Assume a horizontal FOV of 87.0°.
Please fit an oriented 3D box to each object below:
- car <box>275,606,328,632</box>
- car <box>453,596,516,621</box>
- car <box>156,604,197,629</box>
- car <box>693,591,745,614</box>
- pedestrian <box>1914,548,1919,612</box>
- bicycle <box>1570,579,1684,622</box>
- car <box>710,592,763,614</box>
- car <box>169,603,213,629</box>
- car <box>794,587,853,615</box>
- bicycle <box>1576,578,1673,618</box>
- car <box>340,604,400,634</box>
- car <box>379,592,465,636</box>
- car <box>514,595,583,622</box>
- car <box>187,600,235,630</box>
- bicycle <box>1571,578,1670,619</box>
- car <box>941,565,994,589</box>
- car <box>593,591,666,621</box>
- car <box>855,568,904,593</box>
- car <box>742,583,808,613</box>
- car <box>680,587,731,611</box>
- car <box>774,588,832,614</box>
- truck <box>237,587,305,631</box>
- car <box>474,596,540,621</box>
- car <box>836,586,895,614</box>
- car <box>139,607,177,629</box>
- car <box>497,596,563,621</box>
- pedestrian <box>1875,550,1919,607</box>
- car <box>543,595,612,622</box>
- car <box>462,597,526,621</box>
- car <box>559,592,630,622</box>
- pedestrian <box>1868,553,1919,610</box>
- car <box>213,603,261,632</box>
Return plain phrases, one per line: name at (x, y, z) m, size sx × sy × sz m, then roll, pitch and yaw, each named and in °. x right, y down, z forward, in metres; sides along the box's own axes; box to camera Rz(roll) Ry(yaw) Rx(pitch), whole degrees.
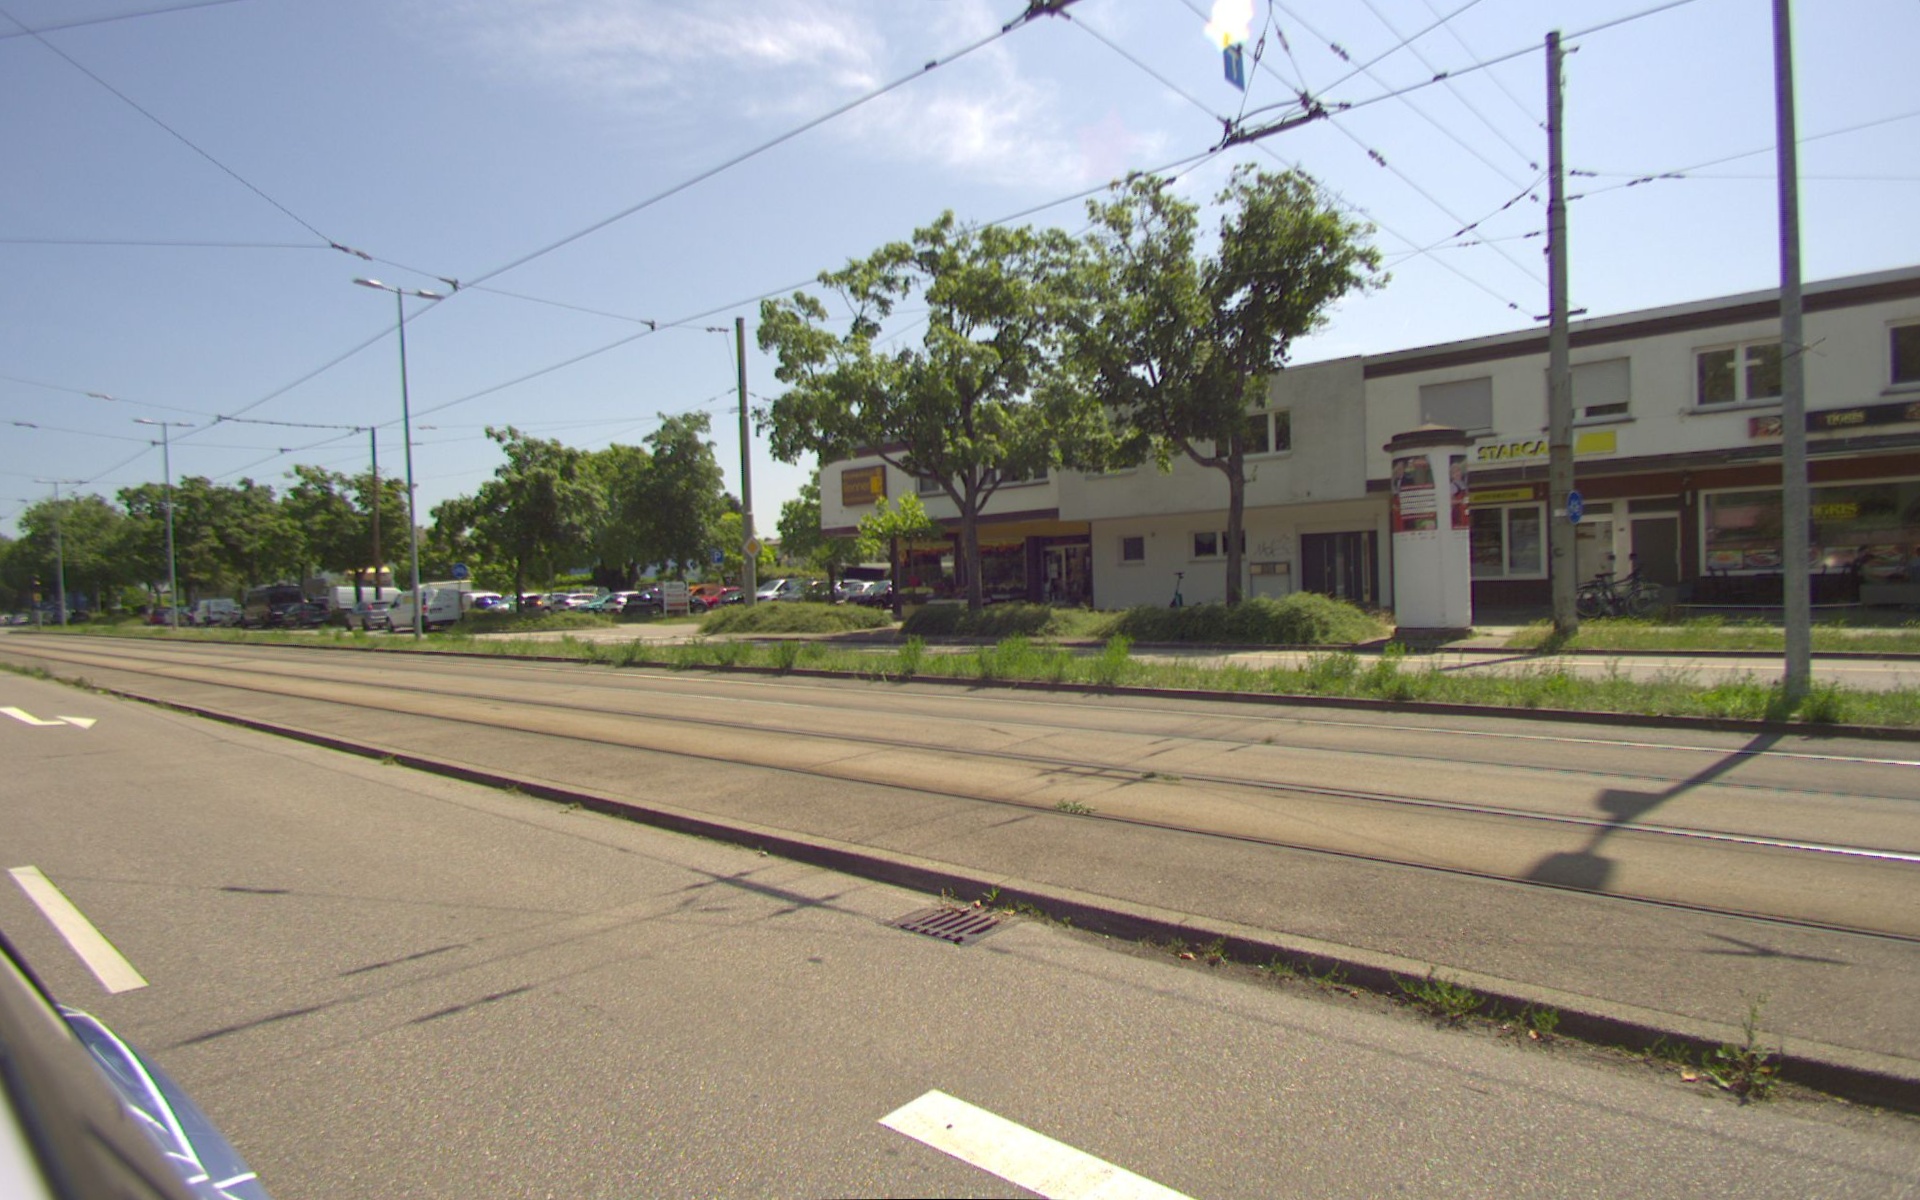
car at (-37.513, 1.091, 57.589) m, size 3.669 × 1.397 × 1.653 m, roll -1°, pitch 1°, yaw 43°
car at (-31.495, 0.562, 67.084) m, size 1.600 × 1.517 × 3.375 m, roll -1°, pitch 1°, yaw 35°
car at (-60.169, 1.301, 77.694) m, size 4.199 × 1.807 × 1.660 m, roll -2°, pitch 0°, yaw 40°
car at (-16.963, 0.159, 71.378) m, size 1.504 × 1.469 × 3.315 m, roll -1°, pitch 1°, yaw 38°
pedestrian at (19.232, -0.407, 19.996) m, size 0.491 × 1.248 × 0.569 m, roll -1°, pitch 1°, yaw 40°
bicycle at (14.133, 0.021, 21.470) m, size 1.958 × 0.854 × 0.596 m, roll -1°, pitch 3°, yaw 41°
car at (-15.344, 0.184, 69.531) m, size 1.504 × 1.400 × 3.315 m, roll -1°, pitch 1°, yaw 38°
car at (-56.782, 1.200, 74.723) m, size 4.199 × 1.807 × 1.660 m, roll -1°, pitch 1°, yaw 40°
car at (-8.321, 0.039, 61.949) m, size 1.622 × 1.549 × 3.450 m, roll -1°, pitch 1°, yaw 38°
bicycle at (15.076, -0.039, 22.990) m, size 1.786 × 0.854 × 0.523 m, roll -1°, pitch 3°, yaw 41°
car at (-29.881, 0.956, 51.219) m, size 3.568 × 1.397 × 1.653 m, roll -1°, pitch 1°, yaw 43°
car at (-25.048, 0.649, 47.056) m, size 4.659 × 1.897 × 1.973 m, roll -1°, pitch 1°, yaw 41°
car at (-23.902, 0.483, 58.914) m, size 1.600 × 1.404 × 3.375 m, roll -1°, pitch 1°, yaw 35°
car at (-52.513, 1.079, 70.919) m, size 4.506 × 1.989 × 1.660 m, roll -1°, pitch 1°, yaw 40°
bicycle at (14.707, -0.030, 22.556) m, size 1.786 × 0.854 × 0.523 m, roll -1°, pitch 3°, yaw 41°
car at (0.584, -1.779, 78.565) m, size 2.000 × 1.785 × 3.944 m, roll -1°, pitch 1°, yaw 42°
car at (-17.886, 0.327, 54.880) m, size 1.790 × 1.502 × 3.375 m, roll -1°, pitch 1°, yaw 35°
car at (-6.975, -1.726, 87.842) m, size 2.000 × 2.029 × 3.944 m, roll -1°, pitch 1°, yaw 42°
car at (-11.948, -0.140, 65.483) m, size 1.811 × 1.798 × 3.950 m, roll -1°, pitch 1°, yaw 38°
car at (-18.476, -0.080, 73.542) m, size 1.504 × 1.573 × 3.315 m, roll -1°, pitch 1°, yaw 38°
car at (-9.921, 0.042, 64.135) m, size 1.532 × 1.549 × 3.450 m, roll -1°, pitch 1°, yaw 38°
truck at (-42.055, 0.556, 61.720) m, size 4.926 × 2.560 × 2.197 m, roll -1°, pitch 1°, yaw 41°
car at (-27.993, 0.535, 62.641) m, size 1.600 × 1.404 × 3.375 m, roll -1°, pitch 1°, yaw 35°
car at (-5.700, -0.023, 61.075) m, size 1.622 × 1.549 × 3.450 m, roll -1°, pitch 1°, yaw 38°
car at (-65.265, 1.486, 82.359) m, size 3.820 × 1.716 × 1.660 m, roll -1°, pitch 1°, yaw 40°
car at (-26.004, 0.509, 61.269) m, size 1.600 × 1.404 × 3.375 m, roll -1°, pitch 1°, yaw 35°
pedestrian at (19.802, -0.459, 21.367) m, size 0.674 × 1.172 × 0.512 m, roll -1°, pitch 1°, yaw 41°
car at (-21.827, 0.456, 57.873) m, size 1.600 × 1.404 × 3.375 m, roll -1°, pitch 1°, yaw 35°
car at (-29.856, 0.559, 64.923) m, size 1.600 × 1.404 × 3.375 m, roll -1°, pitch 1°, yaw 35°
car at (-20.208, 0.384, 56.043) m, size 1.595 × 1.502 × 3.375 m, roll -1°, pitch 1°, yaw 35°
pedestrian at (19.275, -0.386, 20.847) m, size 0.810 × 1.136 × 0.558 m, roll -1°, pitch 1°, yaw 41°
car at (-48.234, 1.165, 67.518) m, size 3.866 × 1.807 × 1.660 m, roll -1°, pitch 1°, yaw 40°
